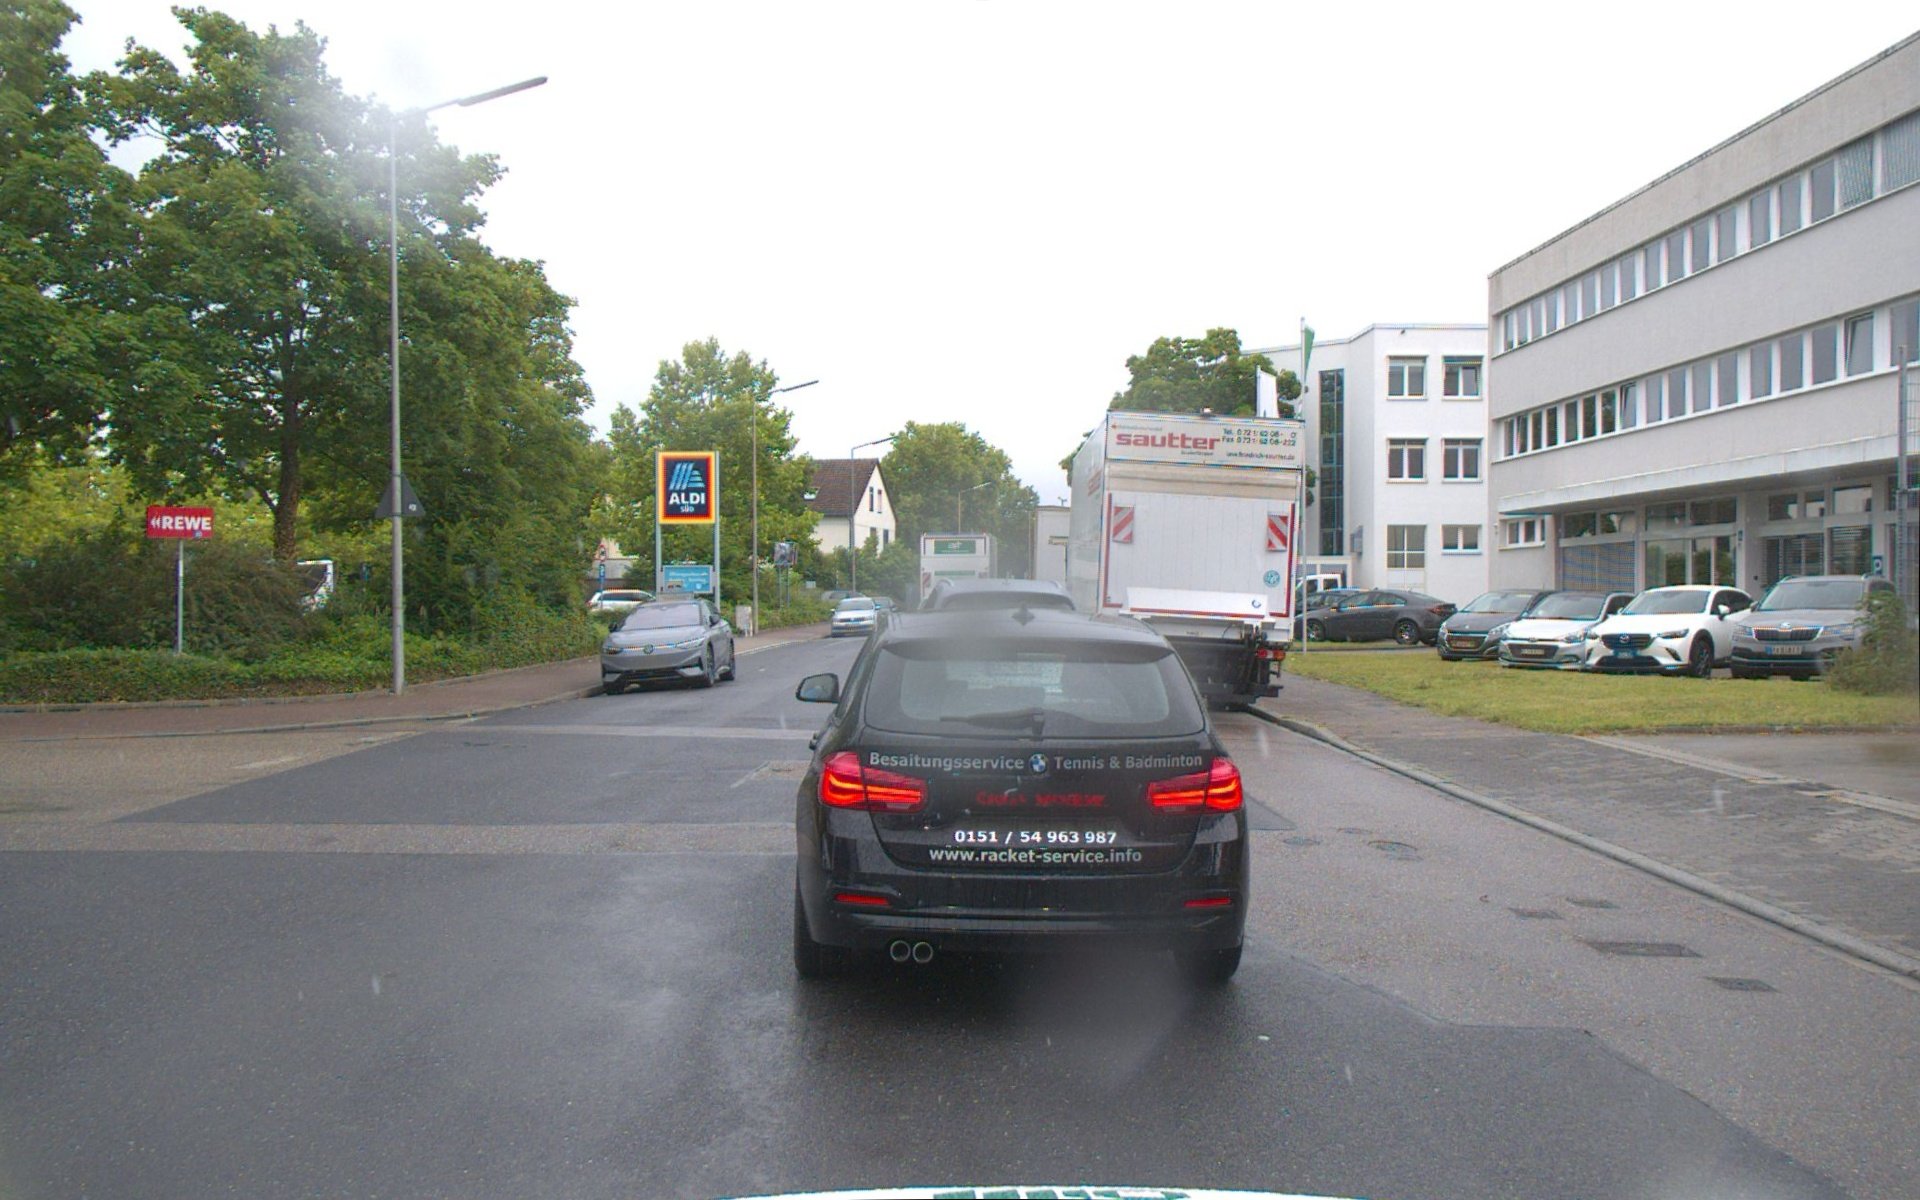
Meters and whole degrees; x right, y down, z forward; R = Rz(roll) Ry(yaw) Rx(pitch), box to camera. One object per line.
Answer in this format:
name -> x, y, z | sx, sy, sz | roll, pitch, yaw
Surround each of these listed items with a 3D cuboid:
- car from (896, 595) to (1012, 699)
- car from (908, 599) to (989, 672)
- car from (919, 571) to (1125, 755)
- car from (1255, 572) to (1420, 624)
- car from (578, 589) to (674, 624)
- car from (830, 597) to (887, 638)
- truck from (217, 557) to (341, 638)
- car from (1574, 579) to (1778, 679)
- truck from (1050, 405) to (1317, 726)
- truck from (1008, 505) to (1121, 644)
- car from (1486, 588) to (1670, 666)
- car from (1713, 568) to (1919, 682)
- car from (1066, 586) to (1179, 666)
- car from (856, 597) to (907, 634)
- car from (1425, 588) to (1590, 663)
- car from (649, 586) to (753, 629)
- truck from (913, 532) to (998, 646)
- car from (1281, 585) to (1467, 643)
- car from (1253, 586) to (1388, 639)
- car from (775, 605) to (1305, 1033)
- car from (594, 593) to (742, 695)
car -> -0.158, 0.726, 27.336 | 1.768, 1.579, 3.998 | 1, 0, -2
car -> -0.316, 0.786, 38.453 | 1.768, 1.579, 3.998 | 1, 0, -2
car -> 0.500, 0.564, 16.609 | 1.768, 1.614, 3.998 | 1, 0, -2
car -> 15.545, -0.077, 68.298 | 6.327, 2.049, 1.998 | 1, -1, -5
car -> -14.994, 0.292, 74.335 | 3.905, 1.567, 1.911 | 0, 0, 1
car -> -3.817, 0.639, 62.717 | 1.670, 1.391, 4.602 | -3, 0, 2
truck -> -24.814, -0.081, 60.565 | 1.953, 2.801, 6.466 | 0, 0, -1
car -> 11.697, 0.417, 26.915 | 1.746, 1.496, 3.971 | 0, 0, 45
truck -> 3.015, -0.445, 25.111 | 2.685, 3.855, 9.299 | 2, 0, 0
truck -> 2.954, -0.724, 48.802 | 2.685, 3.674, 7.749 | 2, 0, 0
car -> 11.316, 0.455, 30.173 | 1.678, 1.309, 3.971 | 0, 0, 45
car -> 12.921, 0.328, 24.683 | 1.842, 1.554, 3.972 | 0, 0, 44
car -> 3.139, 0.478, 32.734 | 1.761, 1.466, 4.344 | 0, 0, -1
car -> -3.240, 0.614, 68.701 | 1.670, 1.391, 3.840 | -3, 0, 3
car -> 10.994, 0.469, 33.111 | 1.678, 1.417, 3.741 | 0, 0, 45
car -> -9.468, 0.268, 60.654 | 3.496, 1.485, 1.713 | 2, 0, 1
truck -> -0.044, -0.494, 53.828 | 2.293, 3.313, 7.754 | 3, 3, 2
car -> 11.188, 0.362, 44.838 | 4.586, 1.493, 1.783 | 0, 0, 38
car -> 11.202, 0.352, 51.537 | 3.712, 1.421, 1.718 | 4, 3, 40
car -> 0.208, 0.745, 7.541 | 1.768, 1.419, 3.998 | 1, 0, -2
car -> -5.114, 0.724, 29.573 | 1.772, 1.555, 4.747 | -4, 0, -1
